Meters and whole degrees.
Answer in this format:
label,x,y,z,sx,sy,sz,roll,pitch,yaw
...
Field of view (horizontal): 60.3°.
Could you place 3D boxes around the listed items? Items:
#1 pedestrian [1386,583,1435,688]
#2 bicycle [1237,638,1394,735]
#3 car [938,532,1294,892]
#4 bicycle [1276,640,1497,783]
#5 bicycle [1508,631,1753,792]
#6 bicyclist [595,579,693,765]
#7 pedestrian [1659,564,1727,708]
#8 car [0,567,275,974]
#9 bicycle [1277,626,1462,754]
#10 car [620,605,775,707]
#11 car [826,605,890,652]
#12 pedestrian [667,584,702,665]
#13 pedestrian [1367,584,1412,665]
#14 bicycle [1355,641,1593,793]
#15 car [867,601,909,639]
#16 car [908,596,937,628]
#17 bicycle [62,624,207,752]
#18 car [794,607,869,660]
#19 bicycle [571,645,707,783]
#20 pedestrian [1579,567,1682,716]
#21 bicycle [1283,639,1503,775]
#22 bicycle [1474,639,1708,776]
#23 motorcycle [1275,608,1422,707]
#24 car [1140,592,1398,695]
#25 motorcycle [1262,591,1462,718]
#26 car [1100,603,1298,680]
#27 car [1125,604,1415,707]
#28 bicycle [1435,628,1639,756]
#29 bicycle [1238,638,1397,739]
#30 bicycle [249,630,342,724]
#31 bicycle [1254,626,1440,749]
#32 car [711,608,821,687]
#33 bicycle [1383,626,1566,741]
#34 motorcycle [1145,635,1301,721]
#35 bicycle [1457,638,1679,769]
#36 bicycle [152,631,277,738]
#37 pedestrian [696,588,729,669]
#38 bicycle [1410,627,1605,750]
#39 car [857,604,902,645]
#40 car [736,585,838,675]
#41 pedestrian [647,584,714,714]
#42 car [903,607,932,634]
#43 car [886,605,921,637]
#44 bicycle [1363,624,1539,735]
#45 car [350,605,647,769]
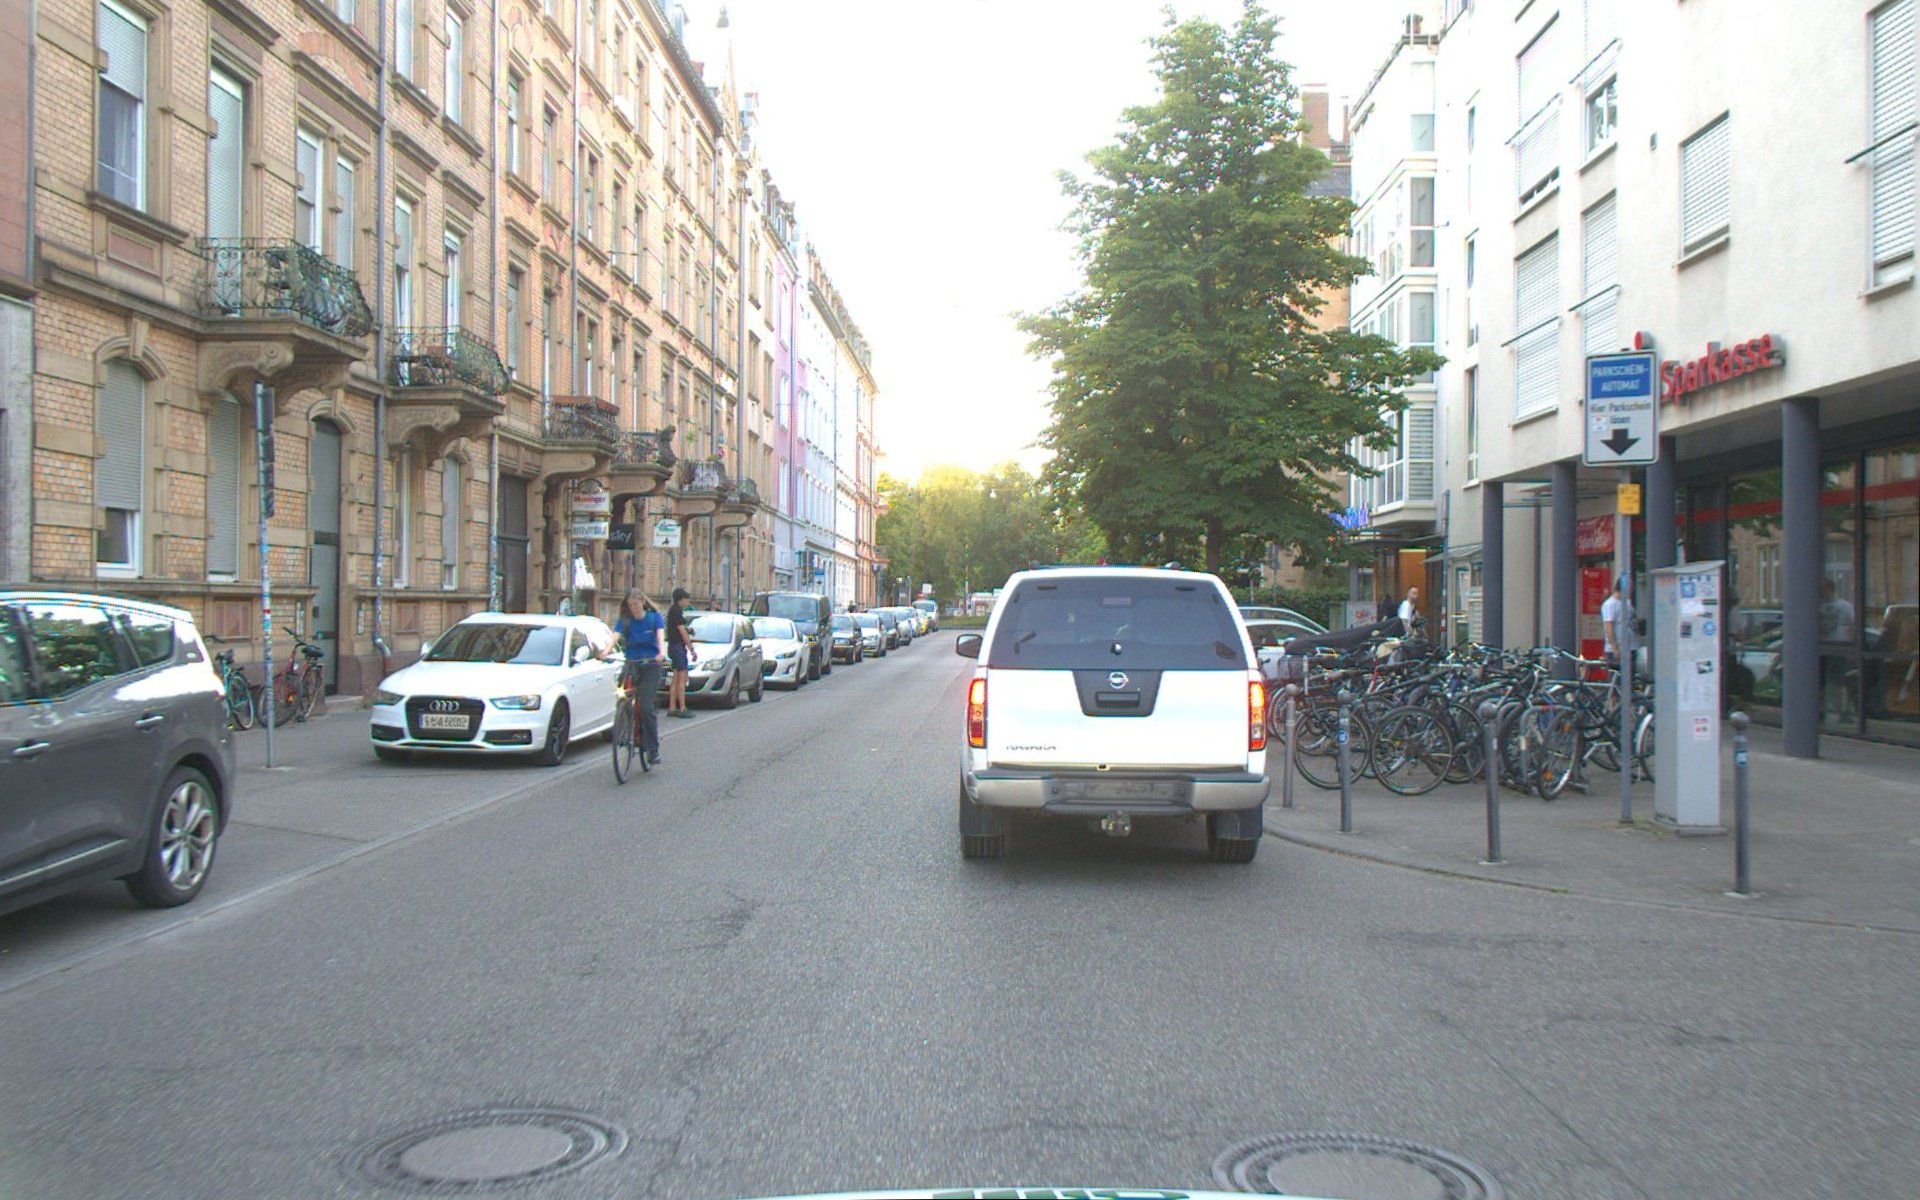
label,x,y,z,sx,sy,sz,roll,pitch,yaw
pedestrian,7.793,0.620,28.619,0.614,1.784,0.586,1,-2,-10
bicycle,4.275,1.035,19.974,1.735,1.040,0.565,-4,-1,4
car,1.006,0.610,11.527,1.871,1.885,5.272,1,0,4
bicycle,3.639,0.943,14.198,1.687,1.137,0.707,-2,-1,0
bicycle,5.210,0.845,12.874,1.691,1.151,0.577,-2,-1,-11
bicyclist,-2.892,0.644,15.193,0.631,1.649,0.919,-1,0,5
pedestrian,9.203,0.436,20.774,0.651,1.753,0.660,0,1,36
car,-4.804,0.673,7.011,1.814,1.662,4.446,1,0,2
bicycle,4.222,0.924,17.137,1.750,1.203,0.734,-4,-1,12
car,-4.207,0.854,27.077,1.681,1.483,4.001,2,0,3
car,-3.549,0.990,58.136,1.796,1.483,4.207,3,0,2
pedestrian,-6.304,0.542,37.884,0.568,1.802,0.997,3,0,-2
pedestrian,9.445,0.544,36.399,0.712,1.746,0.963,-2,-1,2
bicycle,4.109,0.930,13.326,1.686,1.137,0.707,-2,-1,5
car,-3.193,0.890,74.235,1.807,1.688,4.251,0,0,-1
car,-2.536,0.795,110.297,1.774,2.011,4.184,2,0,-3
bicycle,-8.018,0.826,16.141,0.505,1.151,1.731,1,0,1
car,-3.754,0.975,49.071,1.701,1.443,4.779,2,-1,1
bicycle,-2.892,1.000,15.114,0.631,1.100,2.170,-1,0,5
pedestrian,8.173,0.489,20.163,0.769,1.753,0.899,-3,1,-42
bicycle,3.898,0.953,14.974,1.772,1.137,0.707,-2,-1,0
bicycle,5.273,0.893,13.898,1.686,1.072,0.654,-2,-1,5
motorcycle,5.890,0.867,25.142,2.016,1.393,0.717,-2,0,-2
car,5.512,0.764,29.878,4.308,1.676,1.746,-2,0,1
motorcycle,5.345,0.722,22.107,2.439,1.576,0.824,-2,-1,4
car,5.015,0.860,35.061,3.906,1.481,1.828,-1,0,-1
car,5.025,0.882,27.124,4.336,1.481,1.778,-2,0,-5
bicycle,5.459,0.864,15.725,1.686,1.137,0.654,-2,-1,5
bicycle,4.162,1.027,19.361,1.683,1.049,0.668,-4,-1,4
bicycle,-7.890,0.894,19.707,0.581,1.045,1.622,1,0,-6
bicycle,4.178,0.938,17.982,1.830,1.203,0.743,-4,-1,6
car,-3.980,0.940,34.582,1.747,1.447,4.485,2,0,0
bicycle,5.390,0.864,17.379,1.687,1.137,0.653,-2,-1,-2
motorcycle,3.663,1.069,23.048,2.023,1.097,0.661,-2,-1,-14
bicycle,5.327,0.902,14.569,1.686,1.072,0.654,-2,-1,5
bicycle,-7.914,0.871,17.624,0.553,1.054,1.624,1,0,1
pedestrian,-5.696,0.653,38.096,0.593,1.803,0.777,3,0,-3
bicycle,5.370,0.862,16.297,1.686,1.137,0.654,-2,-1,5
car,-3.288,0.980,67.984,1.602,1.593,3.781,1,0,1
car,-4.083,0.690,39.811,1.953,1.957,4.950,2,0,-1
pedestrian,-3.944,0.691,23.423,0.542,1.786,1.023,1,-2,13
car,-2.604,1.226,102.149,1.664,1.579,4.021,2,0,-1
car,-3.063,1.113,90.099,1.663,1.649,4.022,2,0,1
bicycle,5.358,0.857,18.102,1.687,1.137,0.653,-2,-1,-2
car,-4.657,0.806,17.413,1.722,1.436,4.509,1,0,2
